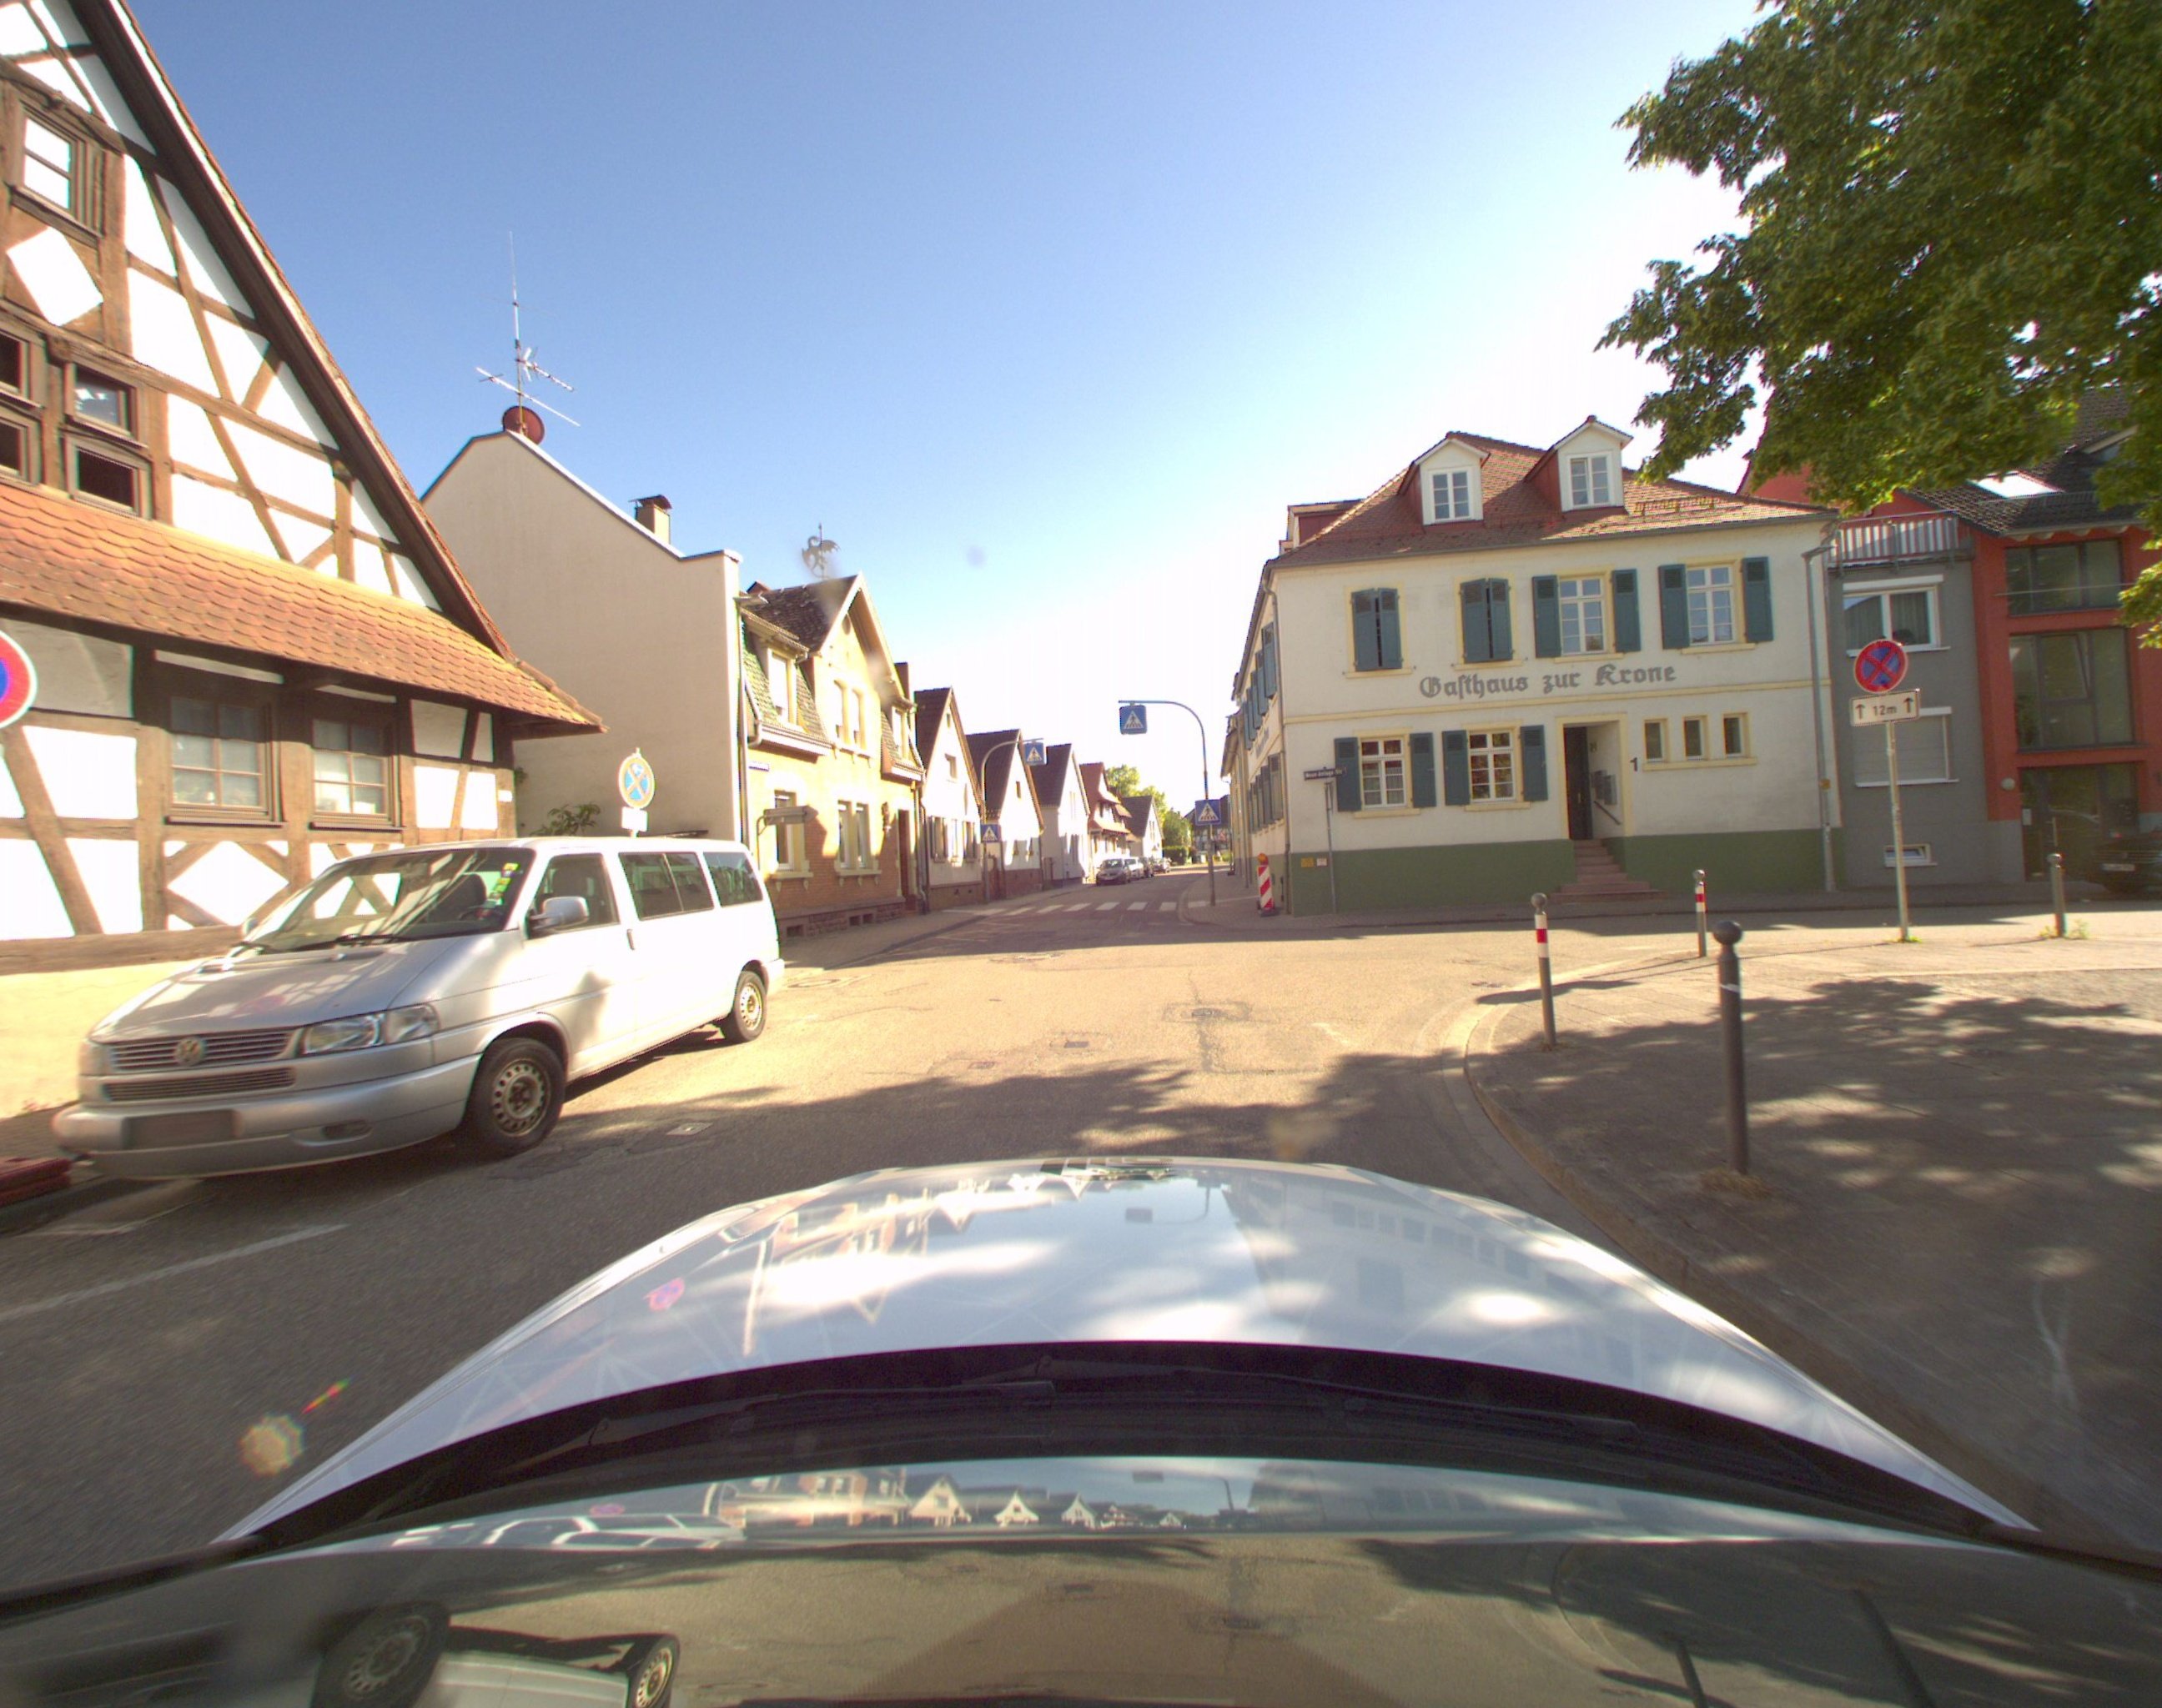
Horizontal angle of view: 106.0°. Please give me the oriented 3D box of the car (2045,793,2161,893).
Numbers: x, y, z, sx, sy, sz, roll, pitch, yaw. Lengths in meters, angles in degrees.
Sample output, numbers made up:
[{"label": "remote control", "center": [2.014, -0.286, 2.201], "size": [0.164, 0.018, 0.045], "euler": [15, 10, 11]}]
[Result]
[{"label": "car", "center": [20.371, -0.261, 14.268], "size": [4.240, 1.684, 1.959], "euler": [-3, -3, 6]}]

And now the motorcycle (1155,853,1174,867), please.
[{"label": "motorcycle", "center": [7.853, 0.556, 76.524], "size": [0.629, 1.231, 1.974], "euler": [-4, 0, -33]}]

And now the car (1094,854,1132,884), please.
[{"label": "car", "center": [1.973, 0.876, 49.164], "size": [1.732, 1.614, 4.011], "euler": [-3, -1, 10]}]

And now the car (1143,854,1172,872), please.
[{"label": "car", "center": [6.897, 0.799, 72.874], "size": [1.832, 1.406, 5.054], "euler": [-4, -1, 12]}]

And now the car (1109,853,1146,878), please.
[{"label": "car", "center": [3.279, 0.796, 56.124], "size": [1.804, 1.567, 4.182], "euler": [-3, -1, 12]}]

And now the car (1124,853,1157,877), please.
[{"label": "car", "center": [4.527, 0.793, 61.712], "size": [1.771, 1.604, 4.376], "euler": [-3, 0, 12]}]

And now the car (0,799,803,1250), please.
[{"label": "car", "center": [-3.958, 0.781, 6.029], "size": [1.868, 1.881, 4.837], "euler": [-4, -1, 2]}]
